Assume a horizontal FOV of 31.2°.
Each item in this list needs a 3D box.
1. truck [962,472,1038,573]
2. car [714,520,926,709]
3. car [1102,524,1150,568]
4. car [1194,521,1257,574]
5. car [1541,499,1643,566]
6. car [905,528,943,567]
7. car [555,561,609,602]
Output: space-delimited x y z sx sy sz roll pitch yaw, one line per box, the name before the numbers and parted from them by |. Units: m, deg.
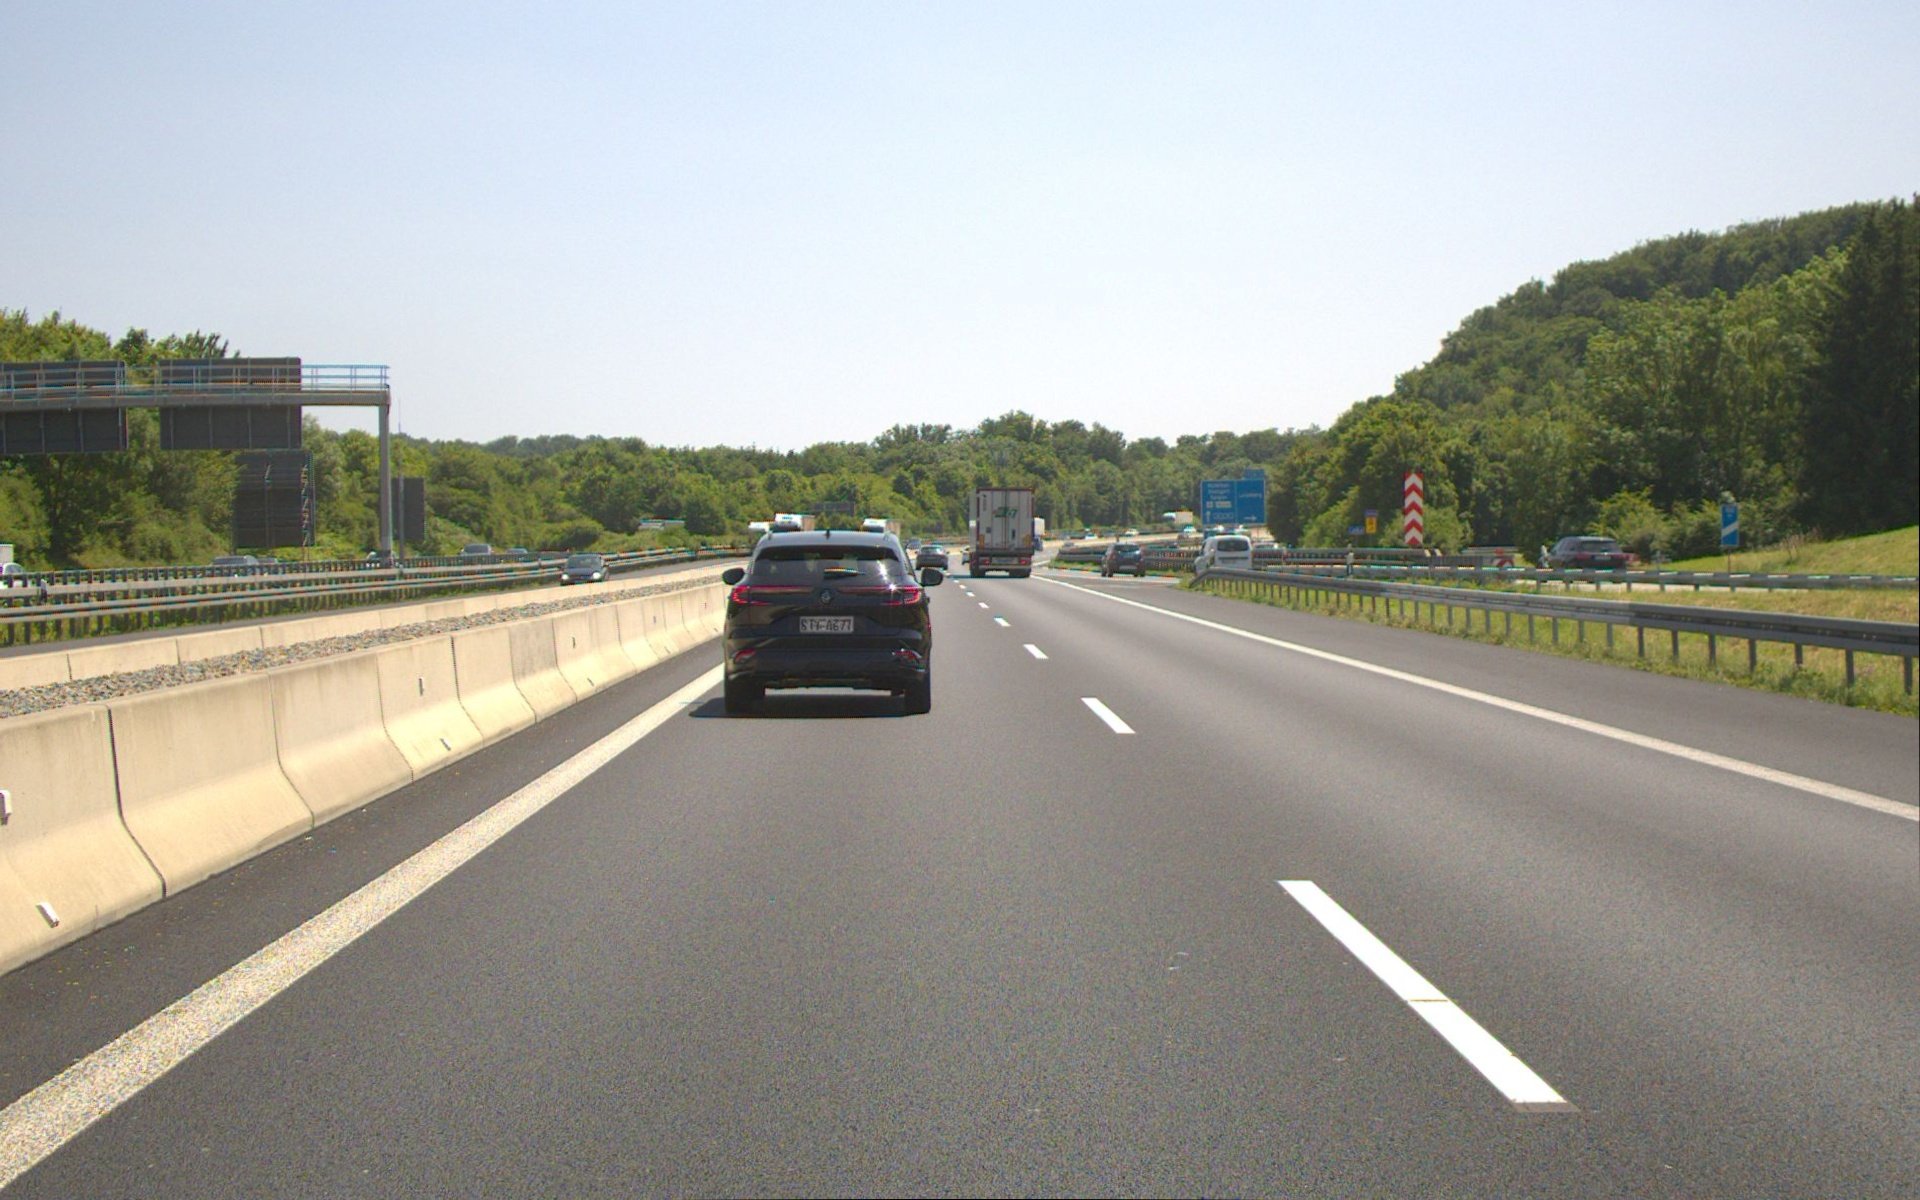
truck | 1.772 -3.493 157.903 3.032 4.403 12.019 1 1 -1
car | -1.297 0.104 31.177 1.779 1.572 4.001 1 1 -3
car | 7.914 -2.559 163.577 1.994 2.007 3.999 1 1 7
car | 10.229 -2.027 132.840 1.993 2.007 4.000 -1 1 -1
car | 19.919 -2.122 108.508 1.993 2.007 4.001 -2 1 -7
car | -2.074 -3.030 198.962 2.138 2.209 5.088 1 1 -1
car | -14.388 -0.721 131.016 1.833 1.529 4.160 1 1 -4
